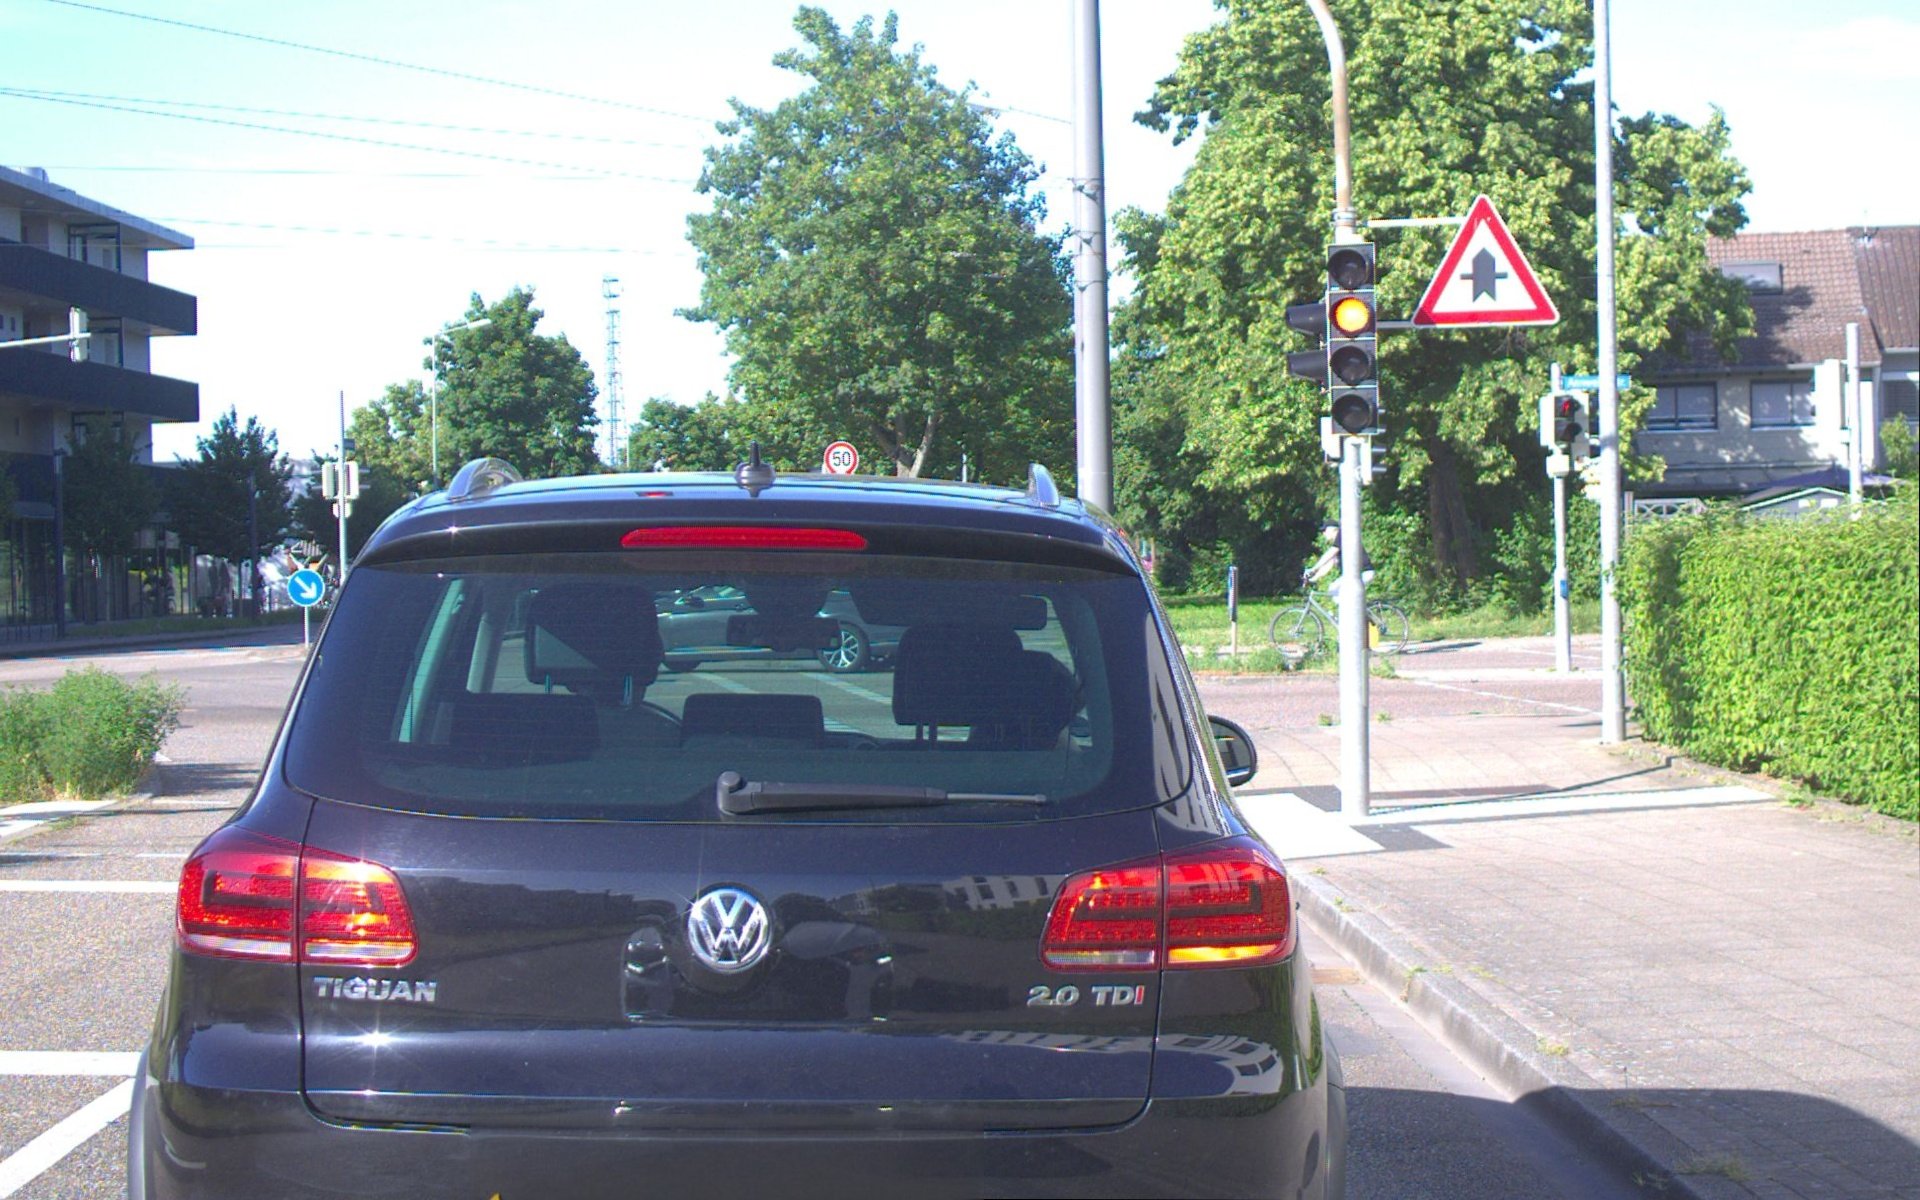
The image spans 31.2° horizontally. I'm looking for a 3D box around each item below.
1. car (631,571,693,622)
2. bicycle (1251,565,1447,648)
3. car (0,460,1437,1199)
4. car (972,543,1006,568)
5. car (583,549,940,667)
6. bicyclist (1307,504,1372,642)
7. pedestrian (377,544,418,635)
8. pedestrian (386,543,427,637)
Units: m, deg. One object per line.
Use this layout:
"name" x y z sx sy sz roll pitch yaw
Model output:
"car" -9.991 -0.132 115.416 1.656 1.634 4.000 0 1 1
"bicycle" 5.107 0.078 45.241 2.504 1.056 0.776 0 1 3
"car" -0.399 0.607 6.471 1.905 1.637 4.000 0 1 -2
"car" 1.633 -2.555 196.253 1.751 1.382 4.000 0 1 -2
"car" -2.582 0.082 45.446 4.498 1.499 2.000 0 1 4
"bicyclist" 4.992 -0.356 45.266 0.803 1.800 0.684 0 1 3
"pedestrian" -9.719 -0.190 59.421 0.603 1.559 0.529 0 1 4
"pedestrian" -9.664 -0.180 59.995 0.603 1.634 0.529 0 1 4
